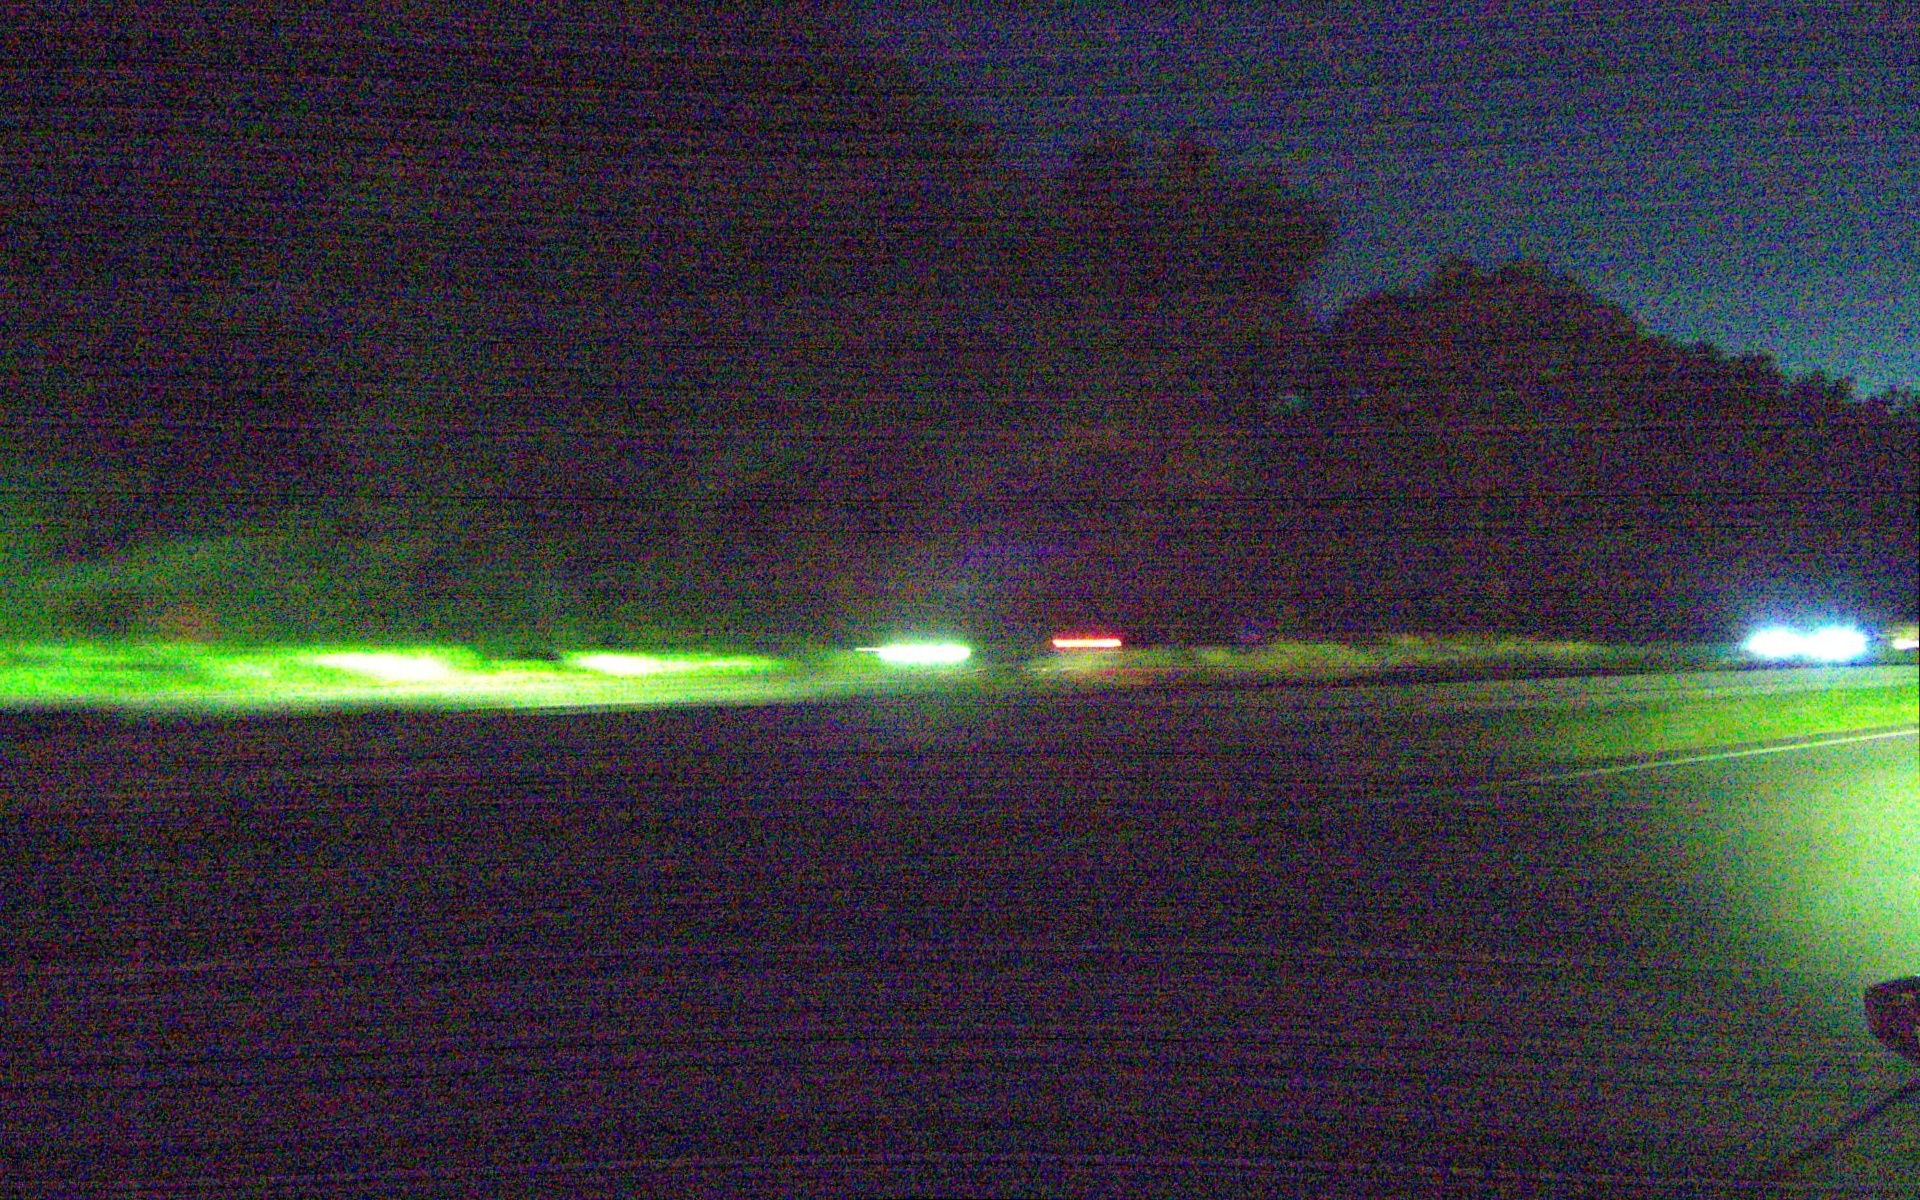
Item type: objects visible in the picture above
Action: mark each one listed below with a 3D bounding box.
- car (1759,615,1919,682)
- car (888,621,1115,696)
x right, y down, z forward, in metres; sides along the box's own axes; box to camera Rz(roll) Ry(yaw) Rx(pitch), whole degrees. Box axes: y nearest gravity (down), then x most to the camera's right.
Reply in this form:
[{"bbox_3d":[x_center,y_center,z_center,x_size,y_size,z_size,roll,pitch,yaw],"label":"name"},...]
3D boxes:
[{"bbox_3d":[24.937,1.324,28.360,5.017,1.756,1.950,1,-2,-29],"label":"car"},{"bbox_3d":[0.959,1.218,21.866,4.789,1.430,1.762,1,0,-31],"label":"car"}]
